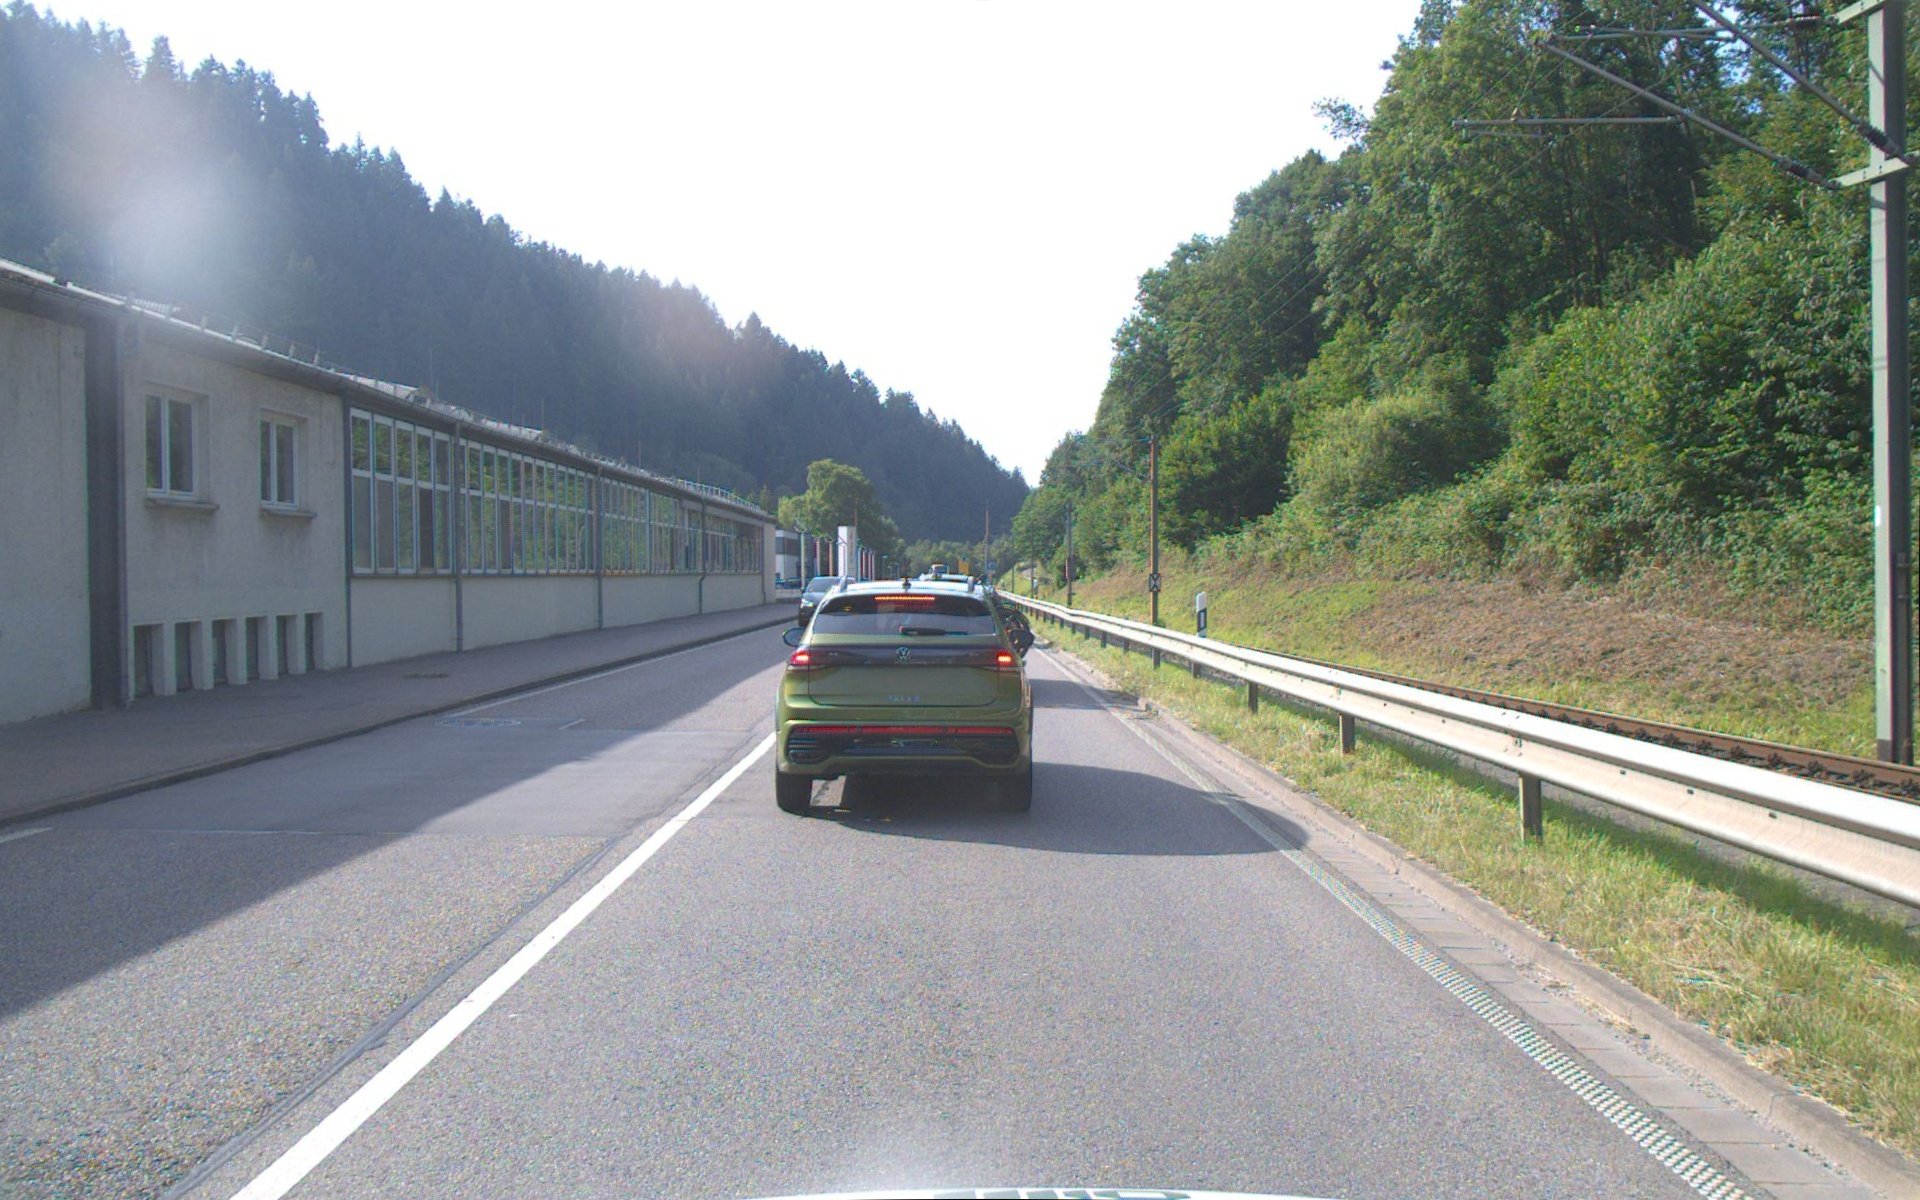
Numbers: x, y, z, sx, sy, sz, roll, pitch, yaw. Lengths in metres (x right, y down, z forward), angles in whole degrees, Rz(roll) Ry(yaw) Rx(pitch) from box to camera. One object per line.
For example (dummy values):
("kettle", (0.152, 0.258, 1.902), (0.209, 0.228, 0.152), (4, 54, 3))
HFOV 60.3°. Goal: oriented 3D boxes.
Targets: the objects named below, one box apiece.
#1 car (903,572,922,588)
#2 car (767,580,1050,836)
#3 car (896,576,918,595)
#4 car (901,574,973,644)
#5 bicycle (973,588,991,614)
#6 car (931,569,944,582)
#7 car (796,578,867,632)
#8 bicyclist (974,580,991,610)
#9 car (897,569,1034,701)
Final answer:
("car", (-4.573, -1.924, 159.931), (1.737, 1.516, 4.051), (1, 1, -1))
("car", (-0.358, 0.629, 11.973), (1.704, 1.534, 3.999), (0, 1, -2))
("car", (-4.422, -1.243, 138.727), (1.684, 1.540, 4.198), (1, 1, -1))
("car", (-0.591, 0.179, 40.921), (1.704, 1.630, 3.999), (0, 1, -2))
("bicycle", (1.070, 0.042, 80.594), (0.795, 1.272, 2.122), (0, 1, -2))
("car", (-3.425, -3.765, 256.158), (1.953, 2.049, 3.999), (1, 0, -2))
("car", (-4.038, 0.130, 52.574), (1.890, 1.609, 4.457), (1, 1, -1))
("bicyclist", (1.085, -0.245, 80.678), (0.766, 1.436, 0.675), (0, 0, -3))
("car", (0.022, 0.413, 22.661), (1.704, 1.630, 3.999), (0, 1, -2))
